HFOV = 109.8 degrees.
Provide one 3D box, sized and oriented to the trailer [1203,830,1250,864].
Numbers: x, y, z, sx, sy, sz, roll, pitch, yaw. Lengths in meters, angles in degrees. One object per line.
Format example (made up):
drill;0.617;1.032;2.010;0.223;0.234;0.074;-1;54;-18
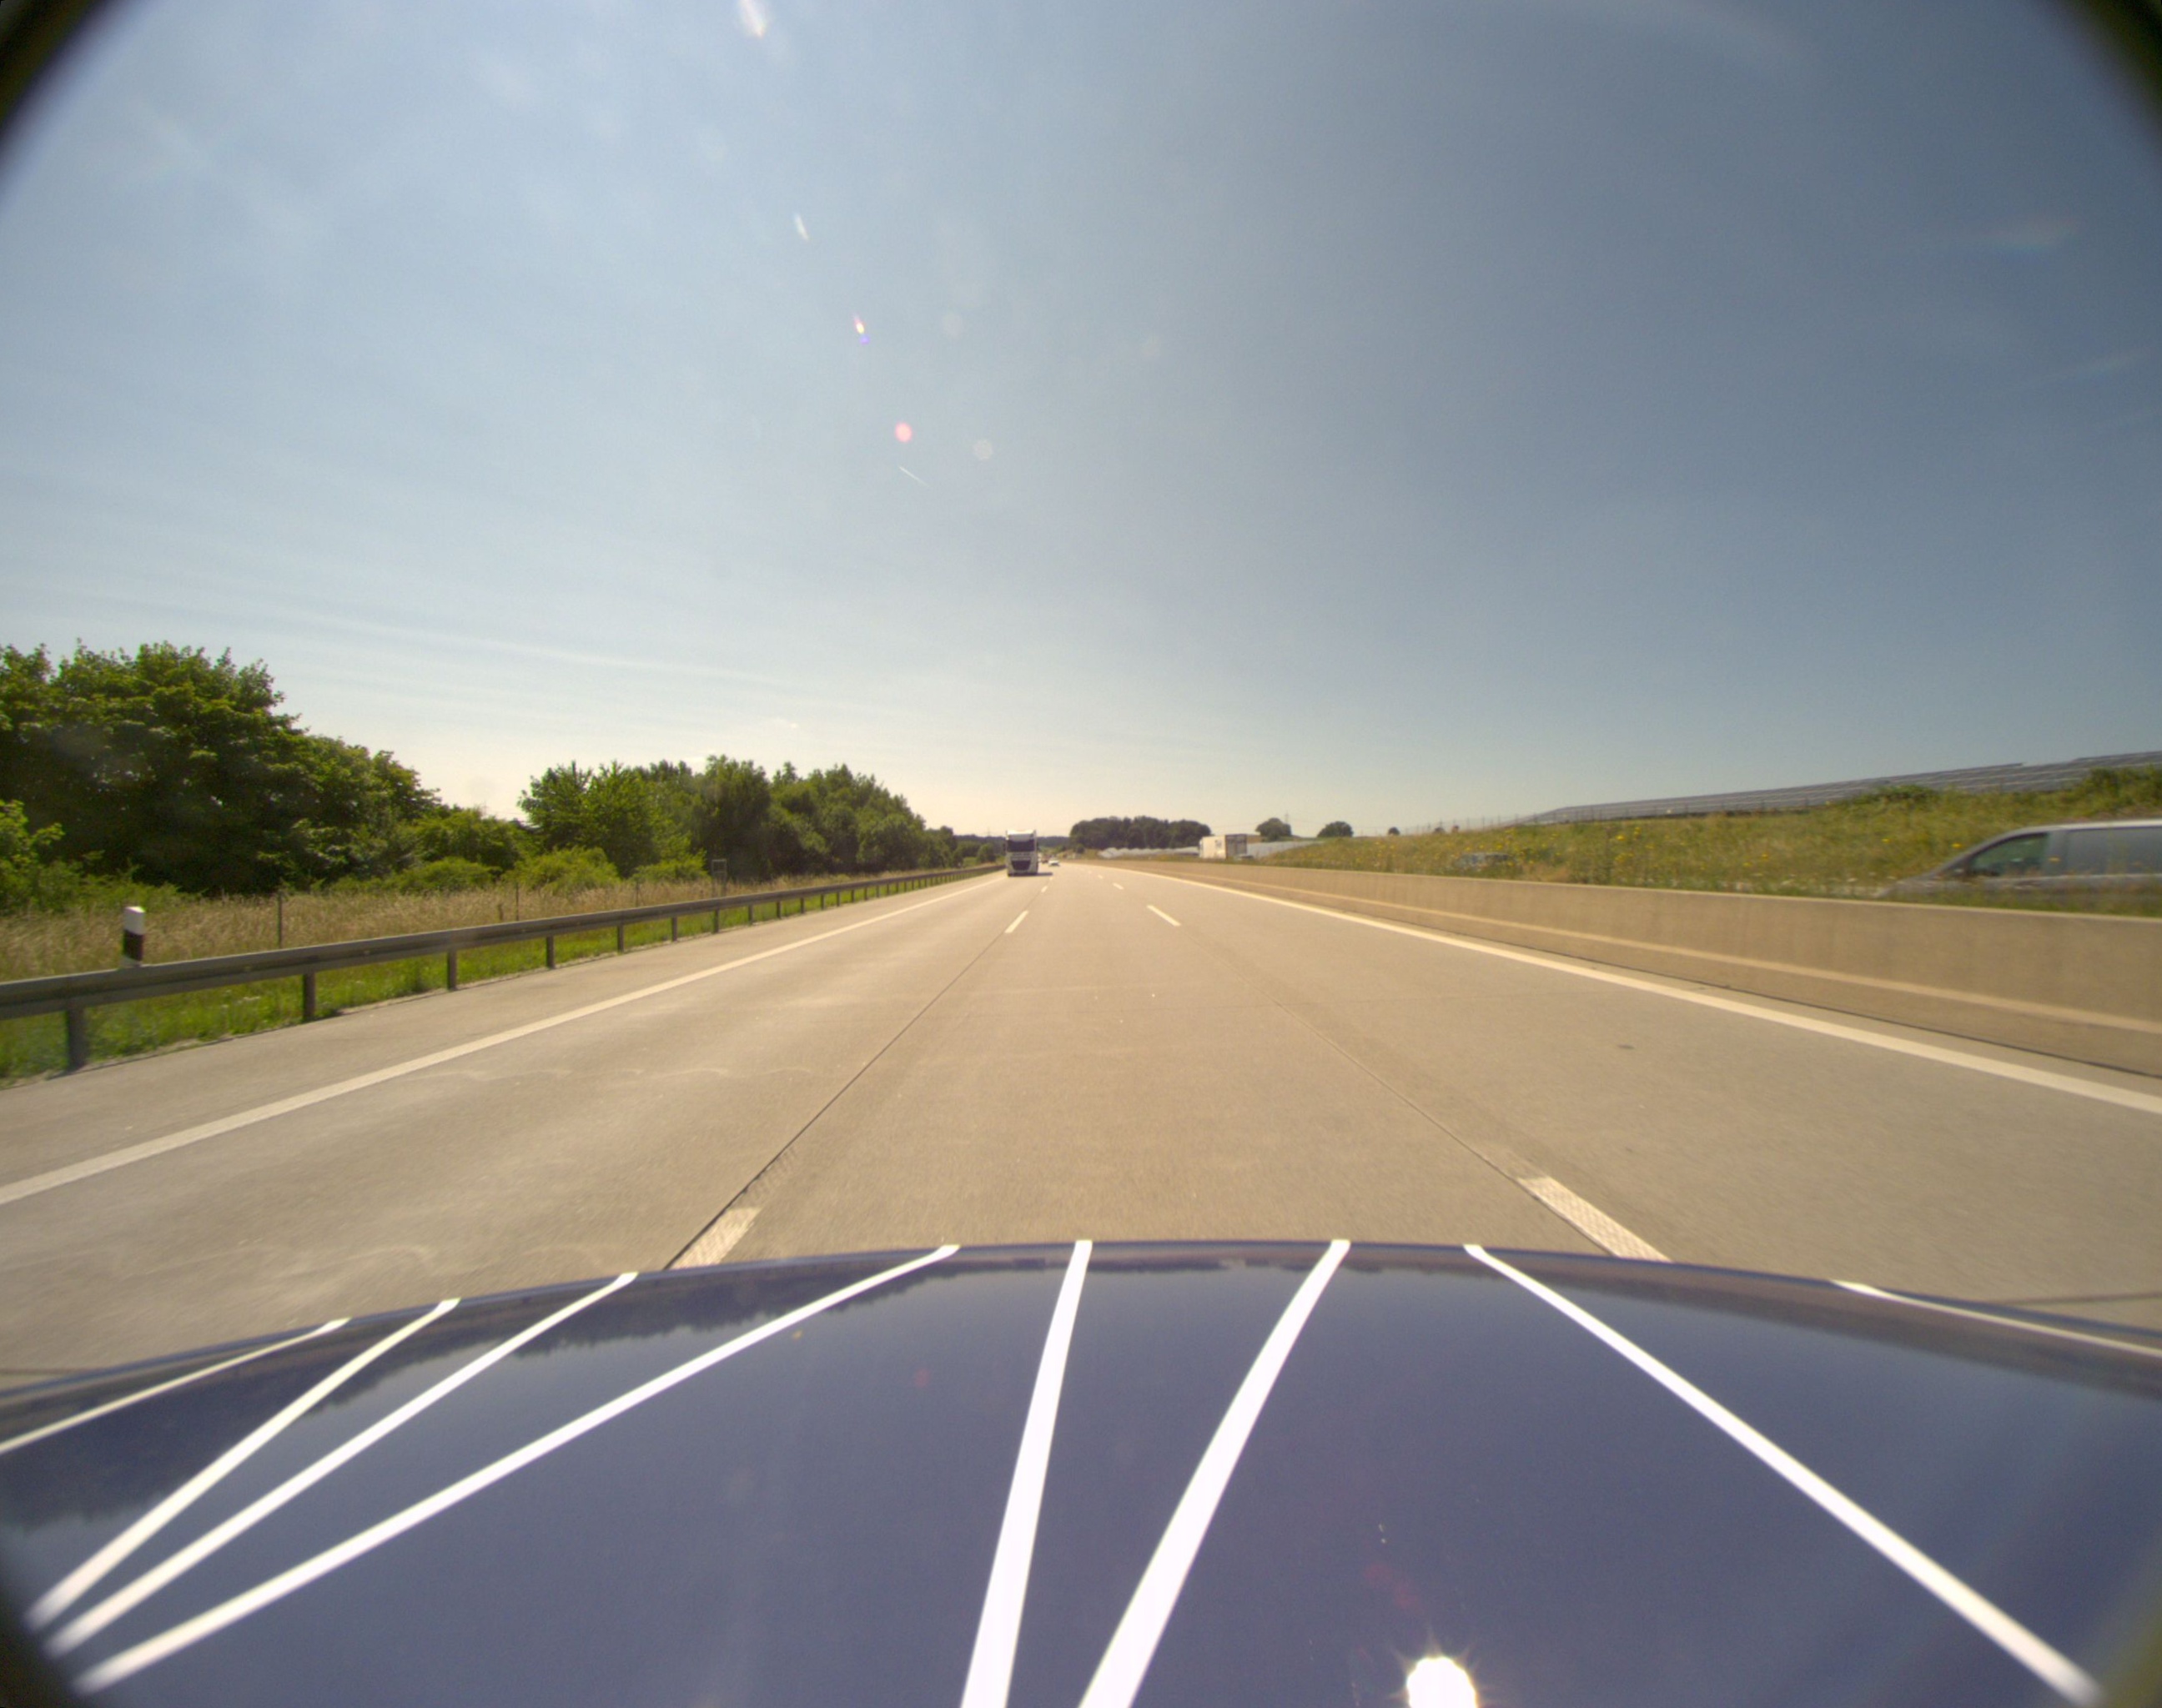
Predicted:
trailer;18.743;-0.877;98.897;3.013;4.036;14.175;-1;0;-1

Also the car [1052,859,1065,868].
car;-3.939;1.628;132.911;2.065;1.472;5.066;-2;0;-5

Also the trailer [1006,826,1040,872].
trailer;-5.628;-0.440;74.028;2.861;4.019;12.708;-2;0;-4

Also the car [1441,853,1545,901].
car;16.586;0.867;30.829;1.998;1.761;3.999;-2;1;0

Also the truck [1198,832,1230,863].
truck;18.600;-0.887;106.480;2.998;4.036;6.868;-1;0;-1

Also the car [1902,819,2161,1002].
car;12.855;0.593;8.710;1.998;2.002;4.542;-2;1;1

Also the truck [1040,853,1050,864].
truck;-8.994;1.114;190.513;2.263;2.461;6.612;-2;0;-4

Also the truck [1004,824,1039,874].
truck;-5.162;-0.413;66.518;2.820;4.064;5.796;-2;0;-3

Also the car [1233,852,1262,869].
car;15.930;0.589;72.813;1.730;1.575;4.643;-1;0;-1
